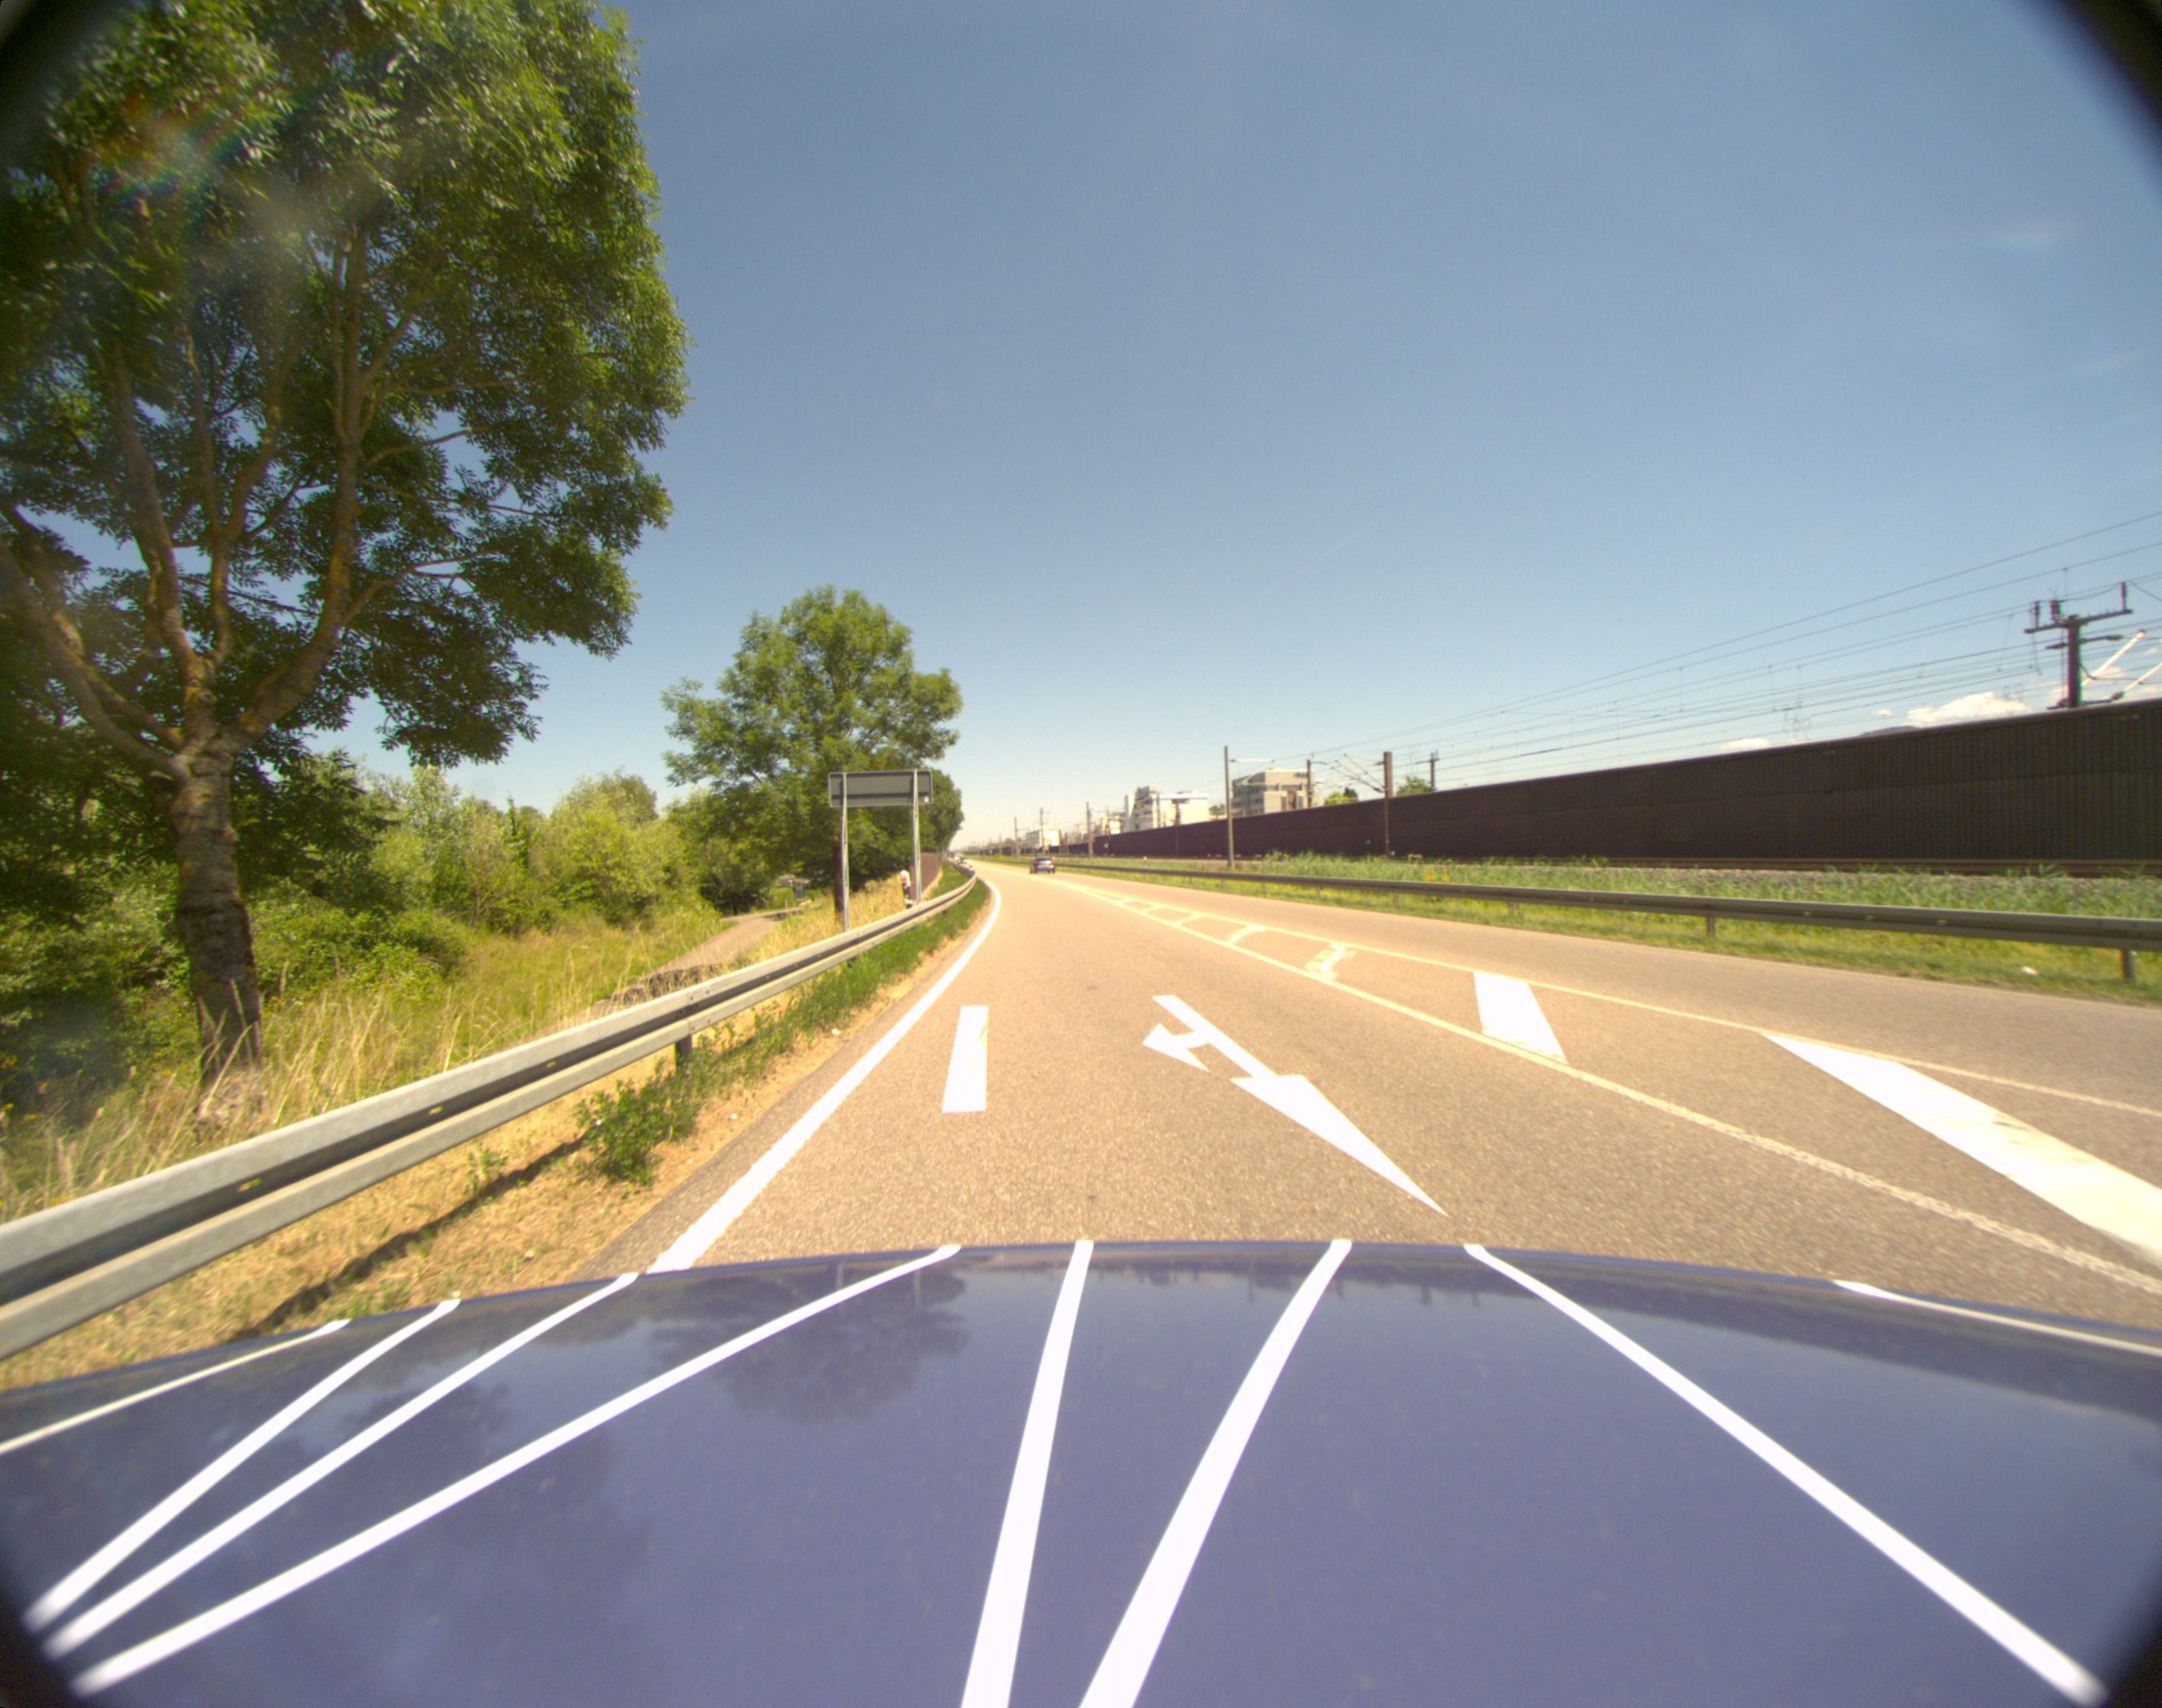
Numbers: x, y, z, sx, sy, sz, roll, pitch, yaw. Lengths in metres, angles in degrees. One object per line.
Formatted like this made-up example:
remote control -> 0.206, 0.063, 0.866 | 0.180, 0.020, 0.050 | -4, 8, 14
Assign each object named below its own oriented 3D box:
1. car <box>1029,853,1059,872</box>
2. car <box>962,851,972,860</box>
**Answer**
car -> -3.281, 0.704, 65.719 | 1.871, 1.476, 4.882 | -1, 0, -11
car -> -23.626, 0.297, 157.700 | 2.000, 2.002, 3.997 | -1, 1, -7
